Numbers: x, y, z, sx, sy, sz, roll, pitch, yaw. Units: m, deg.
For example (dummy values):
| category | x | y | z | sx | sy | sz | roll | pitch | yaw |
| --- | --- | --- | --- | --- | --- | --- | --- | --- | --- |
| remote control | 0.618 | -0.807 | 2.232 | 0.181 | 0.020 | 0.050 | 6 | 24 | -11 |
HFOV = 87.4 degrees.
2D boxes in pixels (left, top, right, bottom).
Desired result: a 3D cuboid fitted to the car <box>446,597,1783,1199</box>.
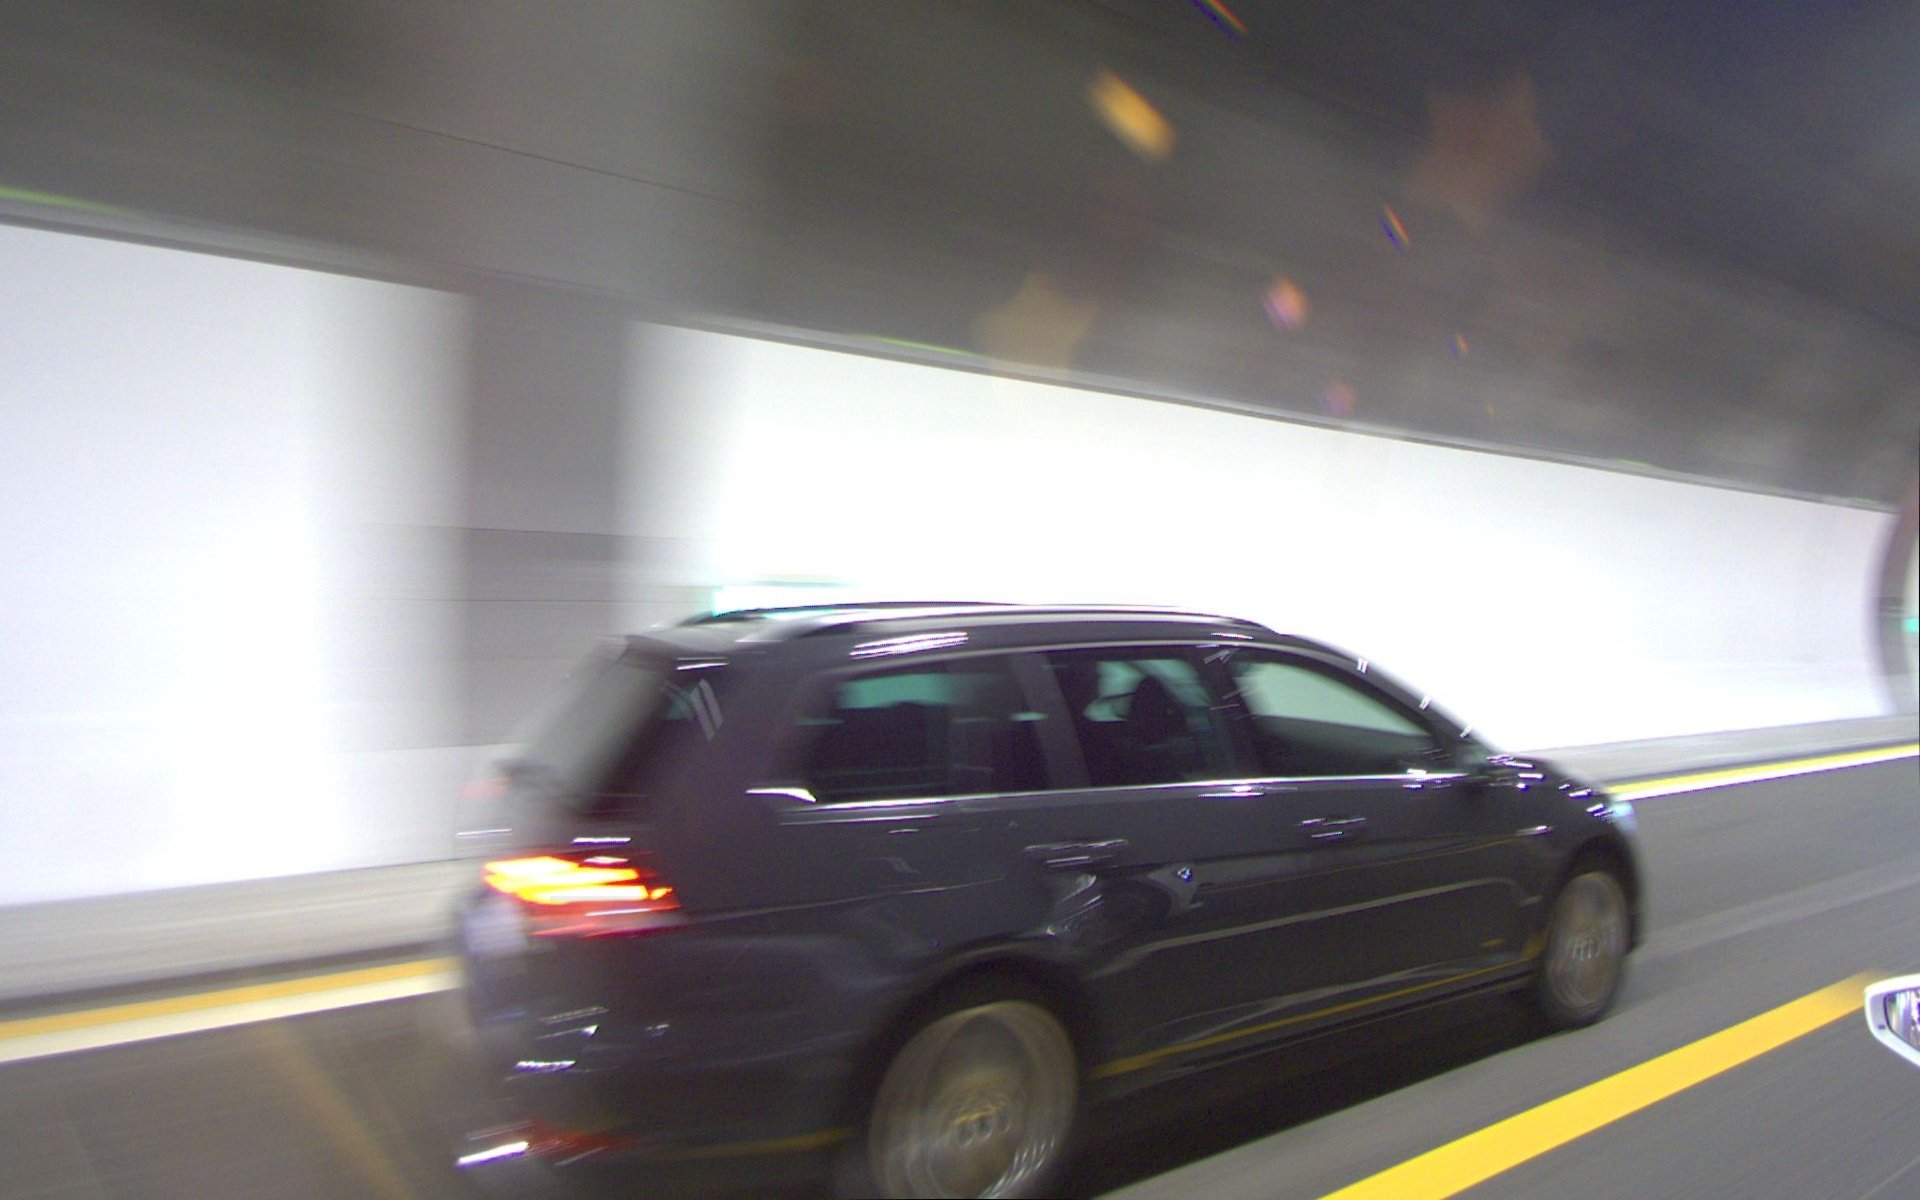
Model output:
| category | x | y | z | sx | sy | sz | roll | pitch | yaw |
| --- | --- | --- | --- | --- | --- | --- | --- | --- | --- |
| car | 0.858 | 0.780 | 3.702 | 4.825 | 1.457 | 1.769 | 1 | 0 | -30 |
